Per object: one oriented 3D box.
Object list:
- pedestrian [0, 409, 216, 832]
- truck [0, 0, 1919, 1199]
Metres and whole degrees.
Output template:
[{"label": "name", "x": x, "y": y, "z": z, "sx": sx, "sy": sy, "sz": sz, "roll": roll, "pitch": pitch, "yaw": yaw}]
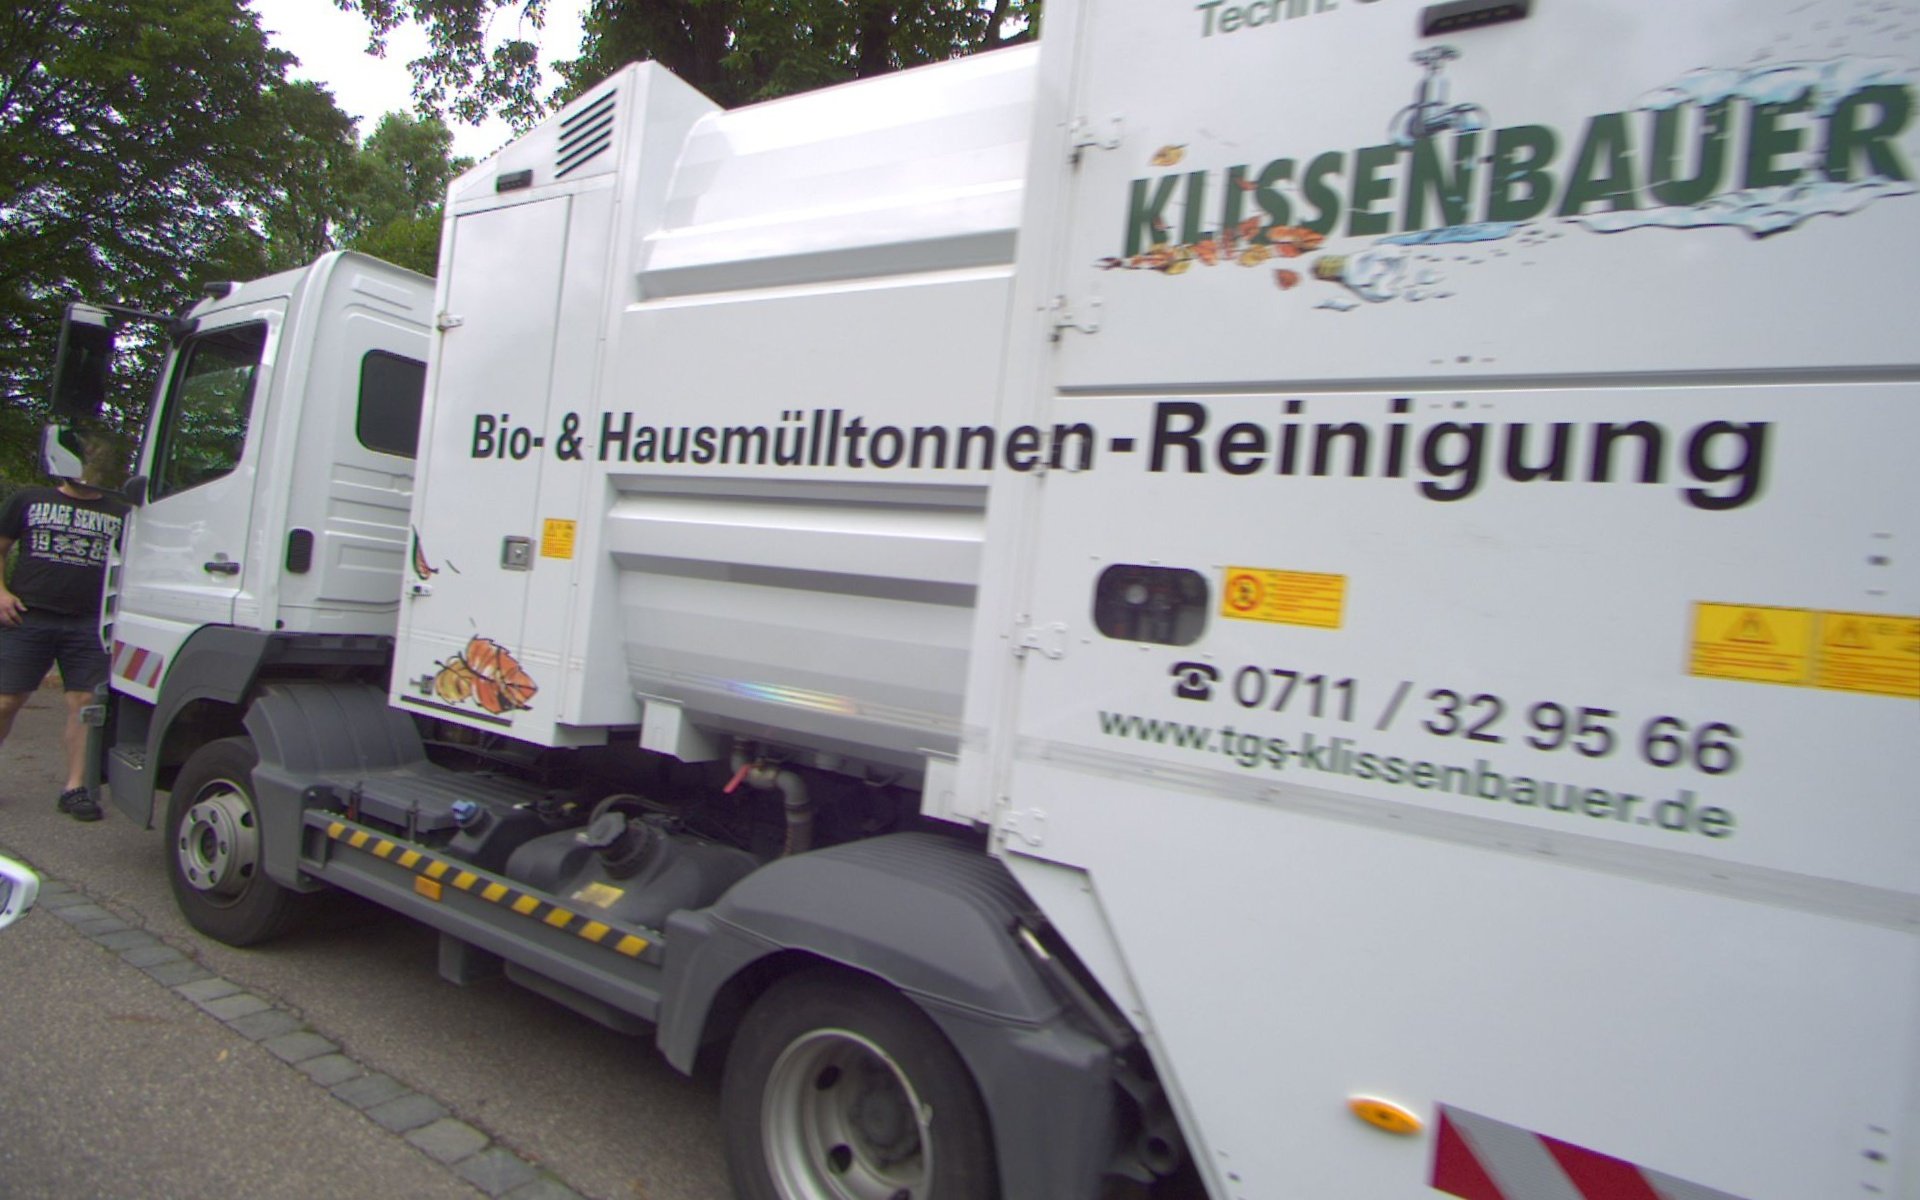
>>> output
[{"label": "pedestrian", "x": -4.478, "y": 0.093, "z": 4.913, "sx": 0.969, "sy": 1.855, "sz": 0.917, "roll": 6, "pitch": -2, "yaw": 36}, {"label": "truck", "x": -0.866, "y": -0.399, "z": 3.985, "sx": 7.106, "sy": 3.217, "sz": 2.489, "roll": 7, "pitch": -3, "yaw": 30}]
